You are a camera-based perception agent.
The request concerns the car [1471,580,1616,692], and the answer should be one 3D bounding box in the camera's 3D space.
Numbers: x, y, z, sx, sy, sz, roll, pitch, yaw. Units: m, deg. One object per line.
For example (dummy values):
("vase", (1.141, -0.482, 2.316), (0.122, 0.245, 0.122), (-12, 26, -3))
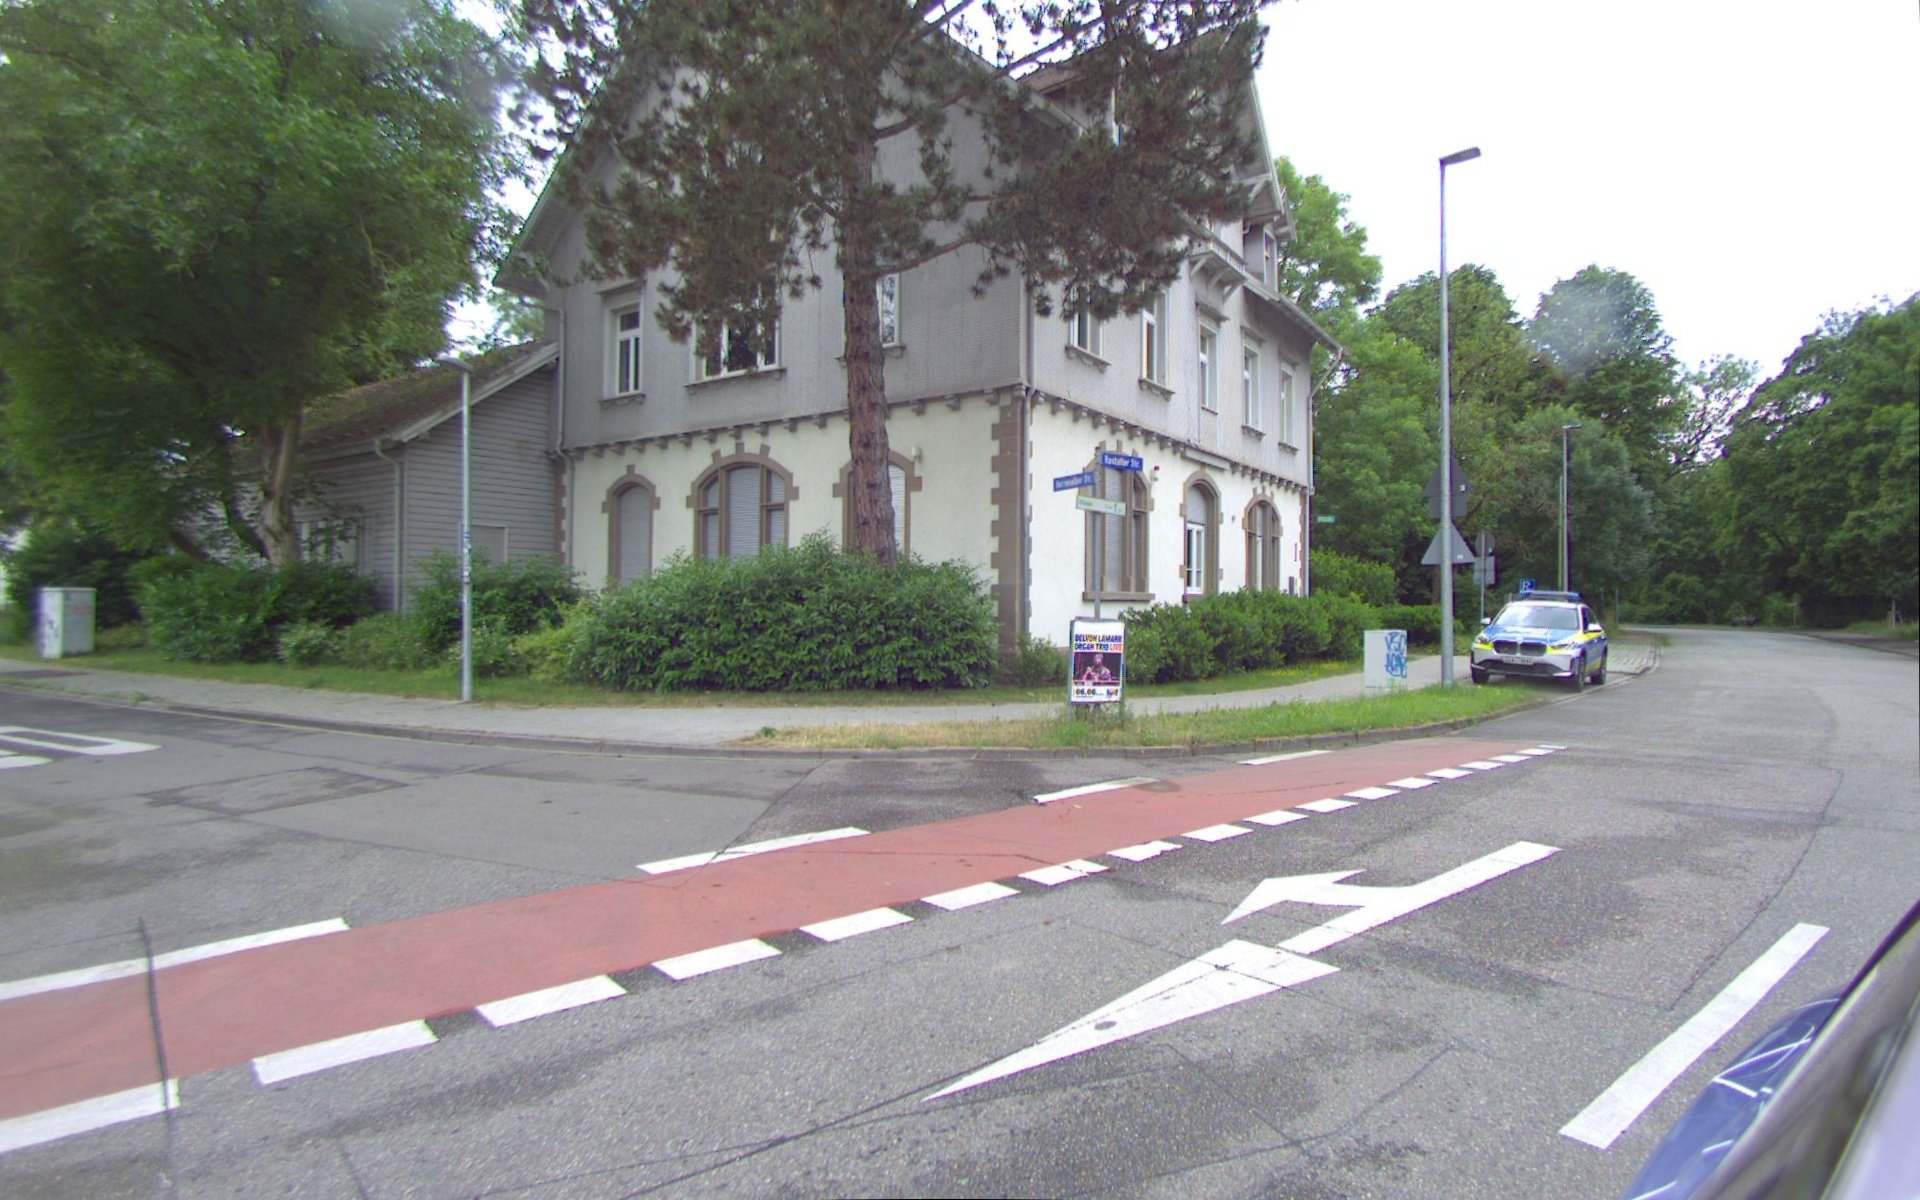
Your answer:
("car", (11.307, 0.612, 19.490), (1.926, 1.873, 3.947), (3, 1, 37))
